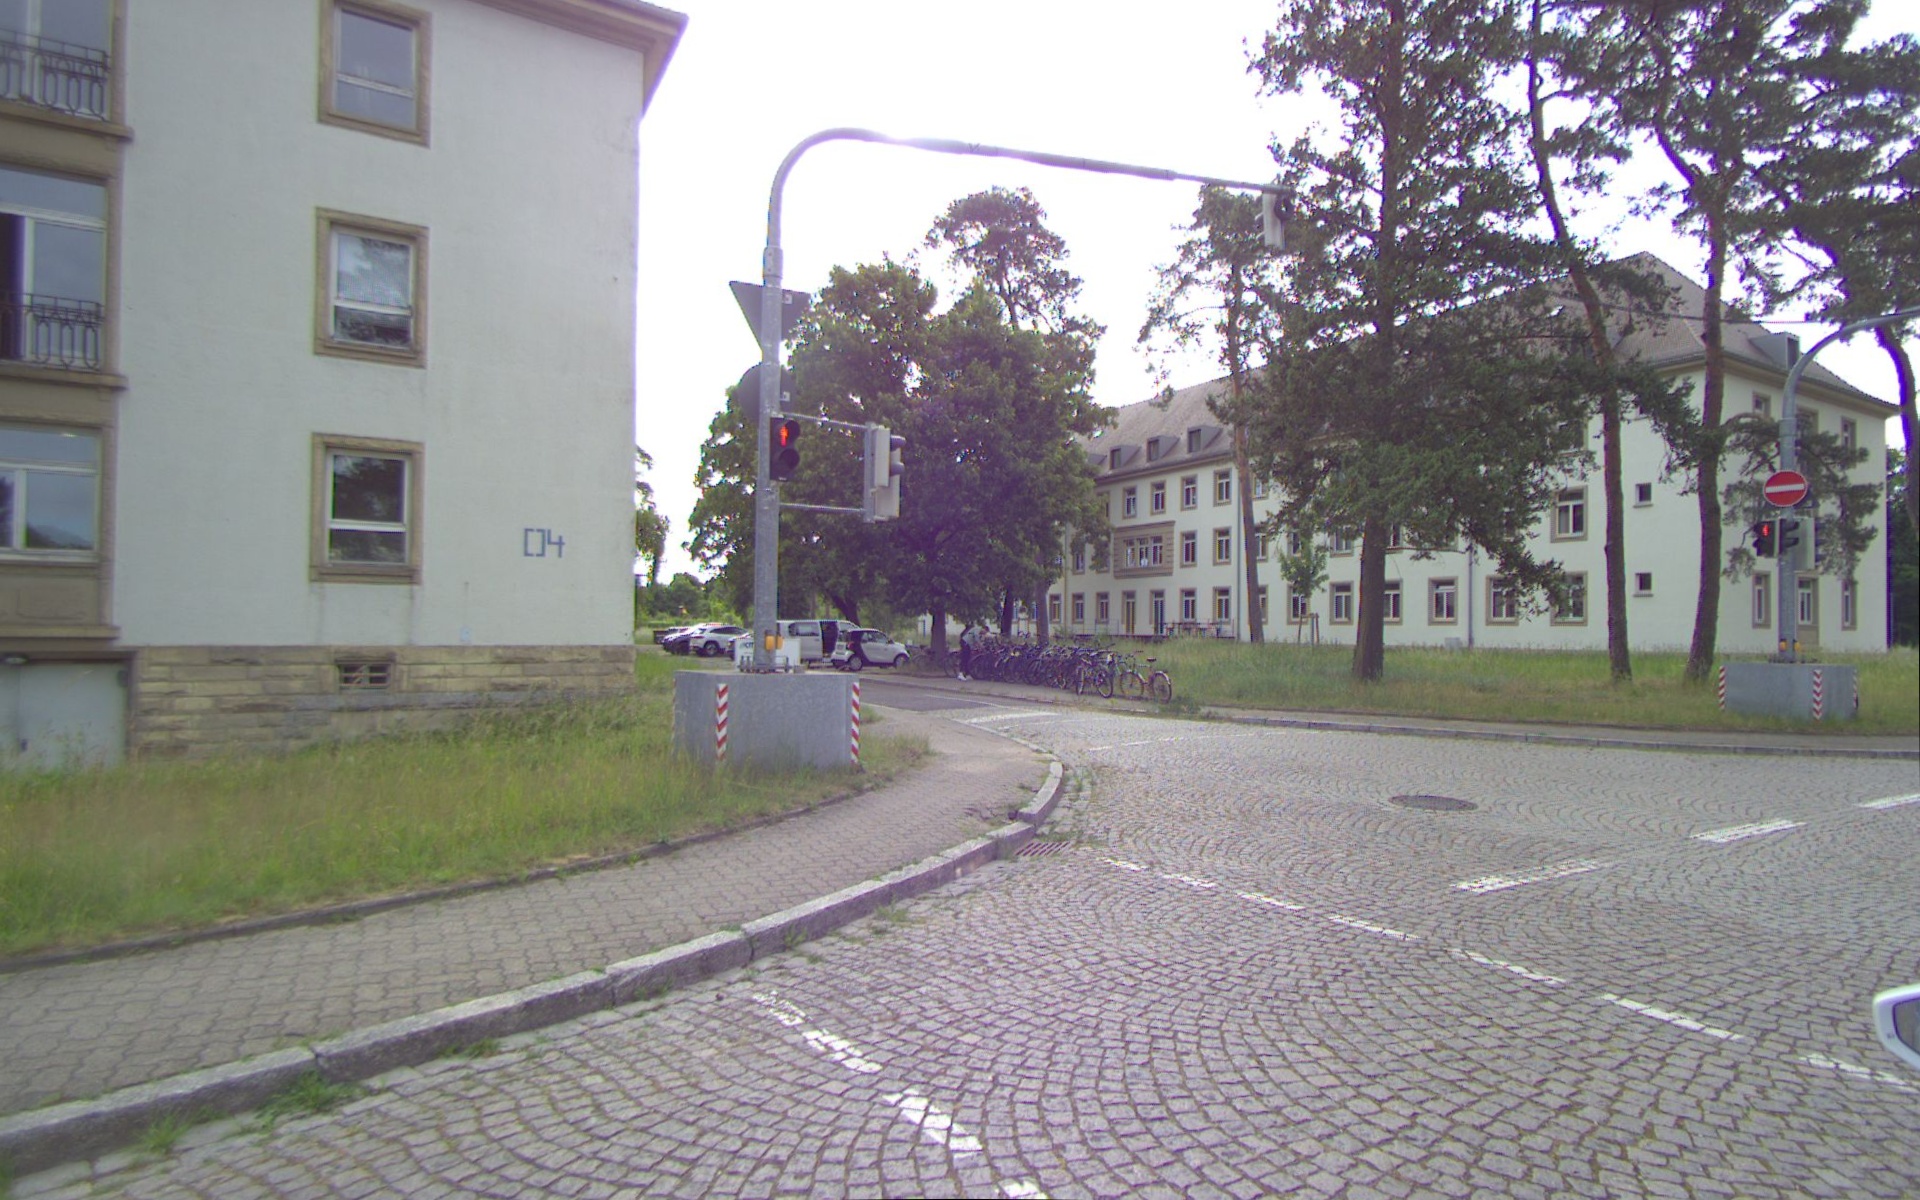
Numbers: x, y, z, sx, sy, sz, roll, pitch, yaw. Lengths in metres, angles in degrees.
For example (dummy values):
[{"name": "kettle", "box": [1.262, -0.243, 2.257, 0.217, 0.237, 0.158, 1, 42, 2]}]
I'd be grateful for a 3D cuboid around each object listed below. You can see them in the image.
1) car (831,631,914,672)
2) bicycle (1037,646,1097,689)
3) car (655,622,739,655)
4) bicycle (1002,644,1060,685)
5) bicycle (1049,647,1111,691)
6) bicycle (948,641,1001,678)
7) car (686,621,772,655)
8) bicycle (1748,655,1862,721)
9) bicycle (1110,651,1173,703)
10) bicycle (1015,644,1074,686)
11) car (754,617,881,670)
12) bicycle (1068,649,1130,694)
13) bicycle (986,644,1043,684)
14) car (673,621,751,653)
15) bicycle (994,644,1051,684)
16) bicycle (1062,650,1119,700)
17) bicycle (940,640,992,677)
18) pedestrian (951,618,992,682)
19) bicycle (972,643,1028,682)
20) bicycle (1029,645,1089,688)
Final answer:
[{"name": "car", "box": [-3.303, 1.946, 37.898, 2.755, 1.446, 1.509, 2, -1, -30]}, {"name": "bicycle", "box": [2.805, 1.757, 26.272, 1.566, 1.093, 0.512, 2, -2, -30]}, {"name": "car", "box": [-14.394, 2.138, 55.051, 4.051, 1.716, 1.789, 2, -1, -34]}, {"name": "bicycle", "box": [1.966, 1.774, 27.647, 1.566, 1.093, 0.512, 2, -2, -30]}, {"name": "bicycle", "box": [3.068, 1.761, 25.611, 1.565, 1.093, 0.513, 2, -2, -27]}, {"name": "bicycle", "box": [0.443, 1.802, 30.414, 1.566, 1.093, 0.512, 2, -2, -30]}, {"name": "car", "box": [-12.110, 2.008, 52.783, 4.051, 1.716, 1.789, 2, -1, -34]}, {"name": "bicycle", "box": [14.897, 1.529, 17.741, 0.510, 1.079, 1.457, 0, -1, -31]}, {"name": "bicycle", "box": [3.925, 1.652, 21.792, 0.510, 1.079, 1.457, 2, -2, -31]}, {"name": "bicycle", "box": [2.287, 1.758, 27.115, 1.566, 1.093, 0.512, 2, -2, -30]}, {"name": "car", "box": [-5.672, 1.736, 40.478, 4.876, 1.978, 1.840, 2, -1, -43]}, {"name": "bicycle", "box": [3.473, 1.770, 25.065, 1.568, 1.093, 0.511, 2, -2, -33]}, {"name": "bicycle", "box": [1.546, 1.799, 28.369, 1.566, 1.093, 0.512, 2, -2, -30]}, {"name": "car", "box": [-14.447, 2.164, 58.539, 4.051, 1.716, 1.789, 2, -1, -34]}, {"name": "bicycle", "box": [1.740, 1.772, 28.038, 1.566, 1.093, 0.512, 2, -2, -30]}, {"name": "bicycle", "box": [2.986, 1.707, 23.133, 0.510, 1.093, 1.457, 2, -2, -31]}, {"name": "bicycle", "box": [0.191, 1.797, 30.846, 1.566, 1.093, 0.512, 2, -2, -30]}, {"name": "pedestrian", "box": [0.316, 1.442, 29.264, 1.135, 1.812, 1.064, -1, -1, -1]}, {"name": "bicycle", "box": [1.158, 1.808, 29.064, 1.566, 1.093, 0.512, 2, -2, -30]}, {"name": "bicycle", "box": [2.633, 1.754, 26.589, 1.566, 1.093, 0.512, 2, -2, -30]}]
